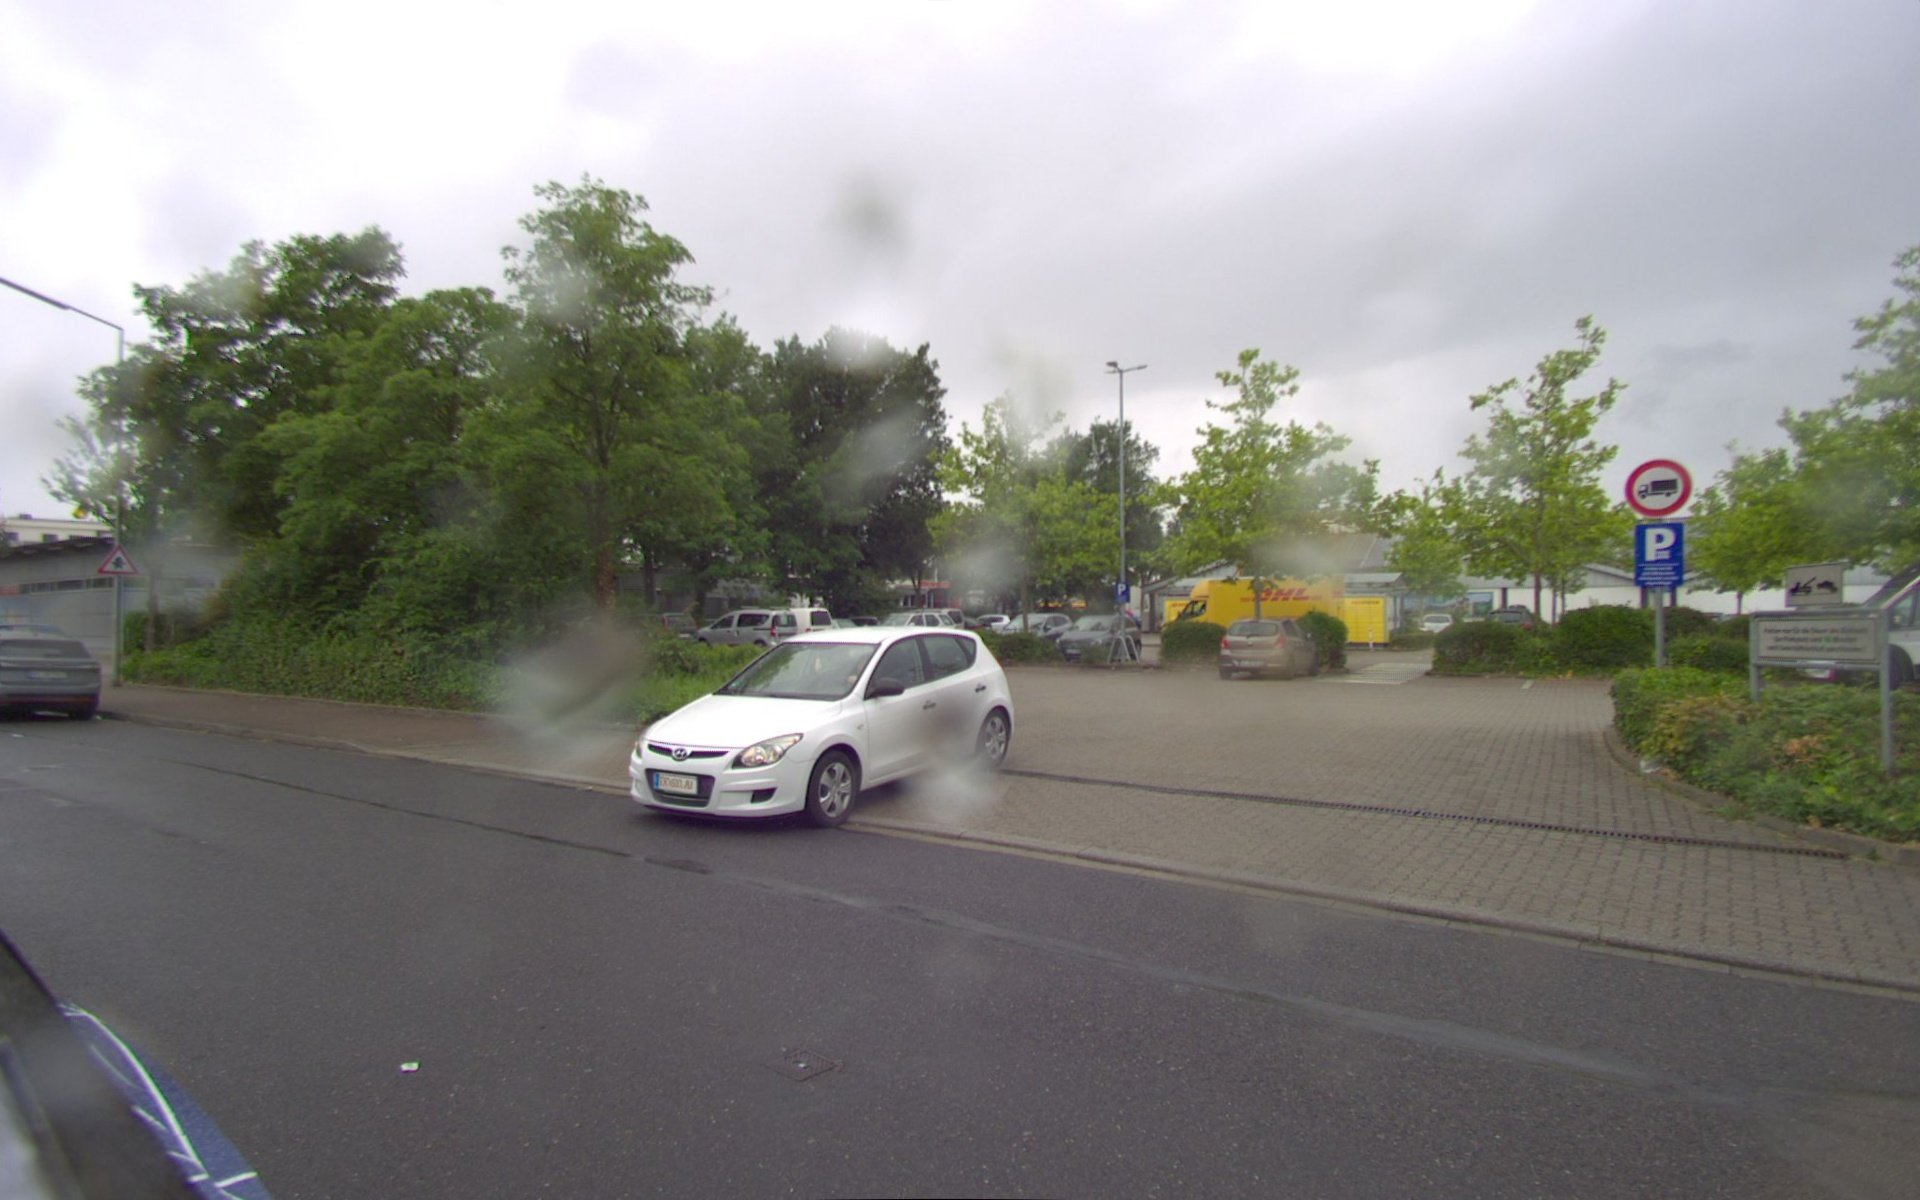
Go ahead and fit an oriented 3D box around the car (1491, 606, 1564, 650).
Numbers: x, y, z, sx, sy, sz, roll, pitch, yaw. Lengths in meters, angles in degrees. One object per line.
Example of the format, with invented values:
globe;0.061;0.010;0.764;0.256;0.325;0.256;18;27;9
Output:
car;21.096;1.028;37.547;1.995;1.533;3.953;-1;-2;35

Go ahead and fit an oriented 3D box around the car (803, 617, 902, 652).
car;-4.774;1.536;45.108;3.980;1.497;1.982;-1;-1;27

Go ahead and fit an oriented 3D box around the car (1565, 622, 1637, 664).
car;22.781;1.481;35.891;1.995;1.356;3.953;-1;-2;35

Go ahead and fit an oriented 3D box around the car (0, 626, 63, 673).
car;-30.751;1.550;31.466;1.731;1.452;3.956;-2;-2;32

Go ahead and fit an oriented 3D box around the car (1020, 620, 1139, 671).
car;3.744;1.361;31.252;1.996;1.431;3.951;-2;-1;36

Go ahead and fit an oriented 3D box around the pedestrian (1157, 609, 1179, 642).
pedestrian;12.350;1.515;60.086;0.909;1.977;1.293;-1;-2;33

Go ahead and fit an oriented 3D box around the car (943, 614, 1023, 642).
car;1.269;1.543;55.588;3.980;1.497;1.982;-1;-1;27

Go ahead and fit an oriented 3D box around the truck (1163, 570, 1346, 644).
truck;11.079;0.328;38.387;6.380;2.621;1.976;-1;-2;35

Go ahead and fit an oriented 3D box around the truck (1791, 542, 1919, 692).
truck;19.103;0.281;18.007;6.376;2.677;1.978;-1;-2;33

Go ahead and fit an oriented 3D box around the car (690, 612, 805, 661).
car;-8.114;1.372;38.671;3.980;1.807;1.982;-1;-1;27

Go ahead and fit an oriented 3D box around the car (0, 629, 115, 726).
car;-17.121;1.321;17.990;4.732;1.540;1.795;-1;-5;32

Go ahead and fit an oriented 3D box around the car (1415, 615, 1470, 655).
car;25.800;1.818;54.083;1.996;2.029;3.952;-1;-1;35

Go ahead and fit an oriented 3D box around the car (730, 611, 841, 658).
car;-6.989;1.367;40.516;3.980;1.807;1.982;-1;-1;27

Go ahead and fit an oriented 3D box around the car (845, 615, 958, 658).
car;-2.204;1.369;38.965;2.025;1.562;4.237;-2;-1;39

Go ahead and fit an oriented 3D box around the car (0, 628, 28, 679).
car;-29.135;1.529;28.650;3.936;1.452;1.739;1;-3;-40

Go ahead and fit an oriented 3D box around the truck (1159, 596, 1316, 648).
truck;11.699;0.946;42.828;6.112;2.110;1.979;-1;-2;31

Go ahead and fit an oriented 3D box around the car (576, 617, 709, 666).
car;-10.682;1.380;34.081;3.975;1.586;1.984;-1;-1;24

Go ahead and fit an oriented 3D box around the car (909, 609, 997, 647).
car;-0.376;1.410;50.885;3.980;1.829;1.982;-1;-1;27

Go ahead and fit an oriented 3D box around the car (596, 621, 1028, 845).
car;-1.062;0.971;9.253;1.706;1.471;4.161;-1;-1;30

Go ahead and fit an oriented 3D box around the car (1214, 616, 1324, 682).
car;7.738;1.162;25.088;1.706;1.471;4.161;-1;-2;30

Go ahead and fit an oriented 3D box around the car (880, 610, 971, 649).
car;-1.662;1.431;48.842;3.980;1.829;1.982;-1;-1;27

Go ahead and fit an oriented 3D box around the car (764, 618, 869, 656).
car;-6.038;1.541;42.624;3.980;1.497;1.982;-1;-1;27
